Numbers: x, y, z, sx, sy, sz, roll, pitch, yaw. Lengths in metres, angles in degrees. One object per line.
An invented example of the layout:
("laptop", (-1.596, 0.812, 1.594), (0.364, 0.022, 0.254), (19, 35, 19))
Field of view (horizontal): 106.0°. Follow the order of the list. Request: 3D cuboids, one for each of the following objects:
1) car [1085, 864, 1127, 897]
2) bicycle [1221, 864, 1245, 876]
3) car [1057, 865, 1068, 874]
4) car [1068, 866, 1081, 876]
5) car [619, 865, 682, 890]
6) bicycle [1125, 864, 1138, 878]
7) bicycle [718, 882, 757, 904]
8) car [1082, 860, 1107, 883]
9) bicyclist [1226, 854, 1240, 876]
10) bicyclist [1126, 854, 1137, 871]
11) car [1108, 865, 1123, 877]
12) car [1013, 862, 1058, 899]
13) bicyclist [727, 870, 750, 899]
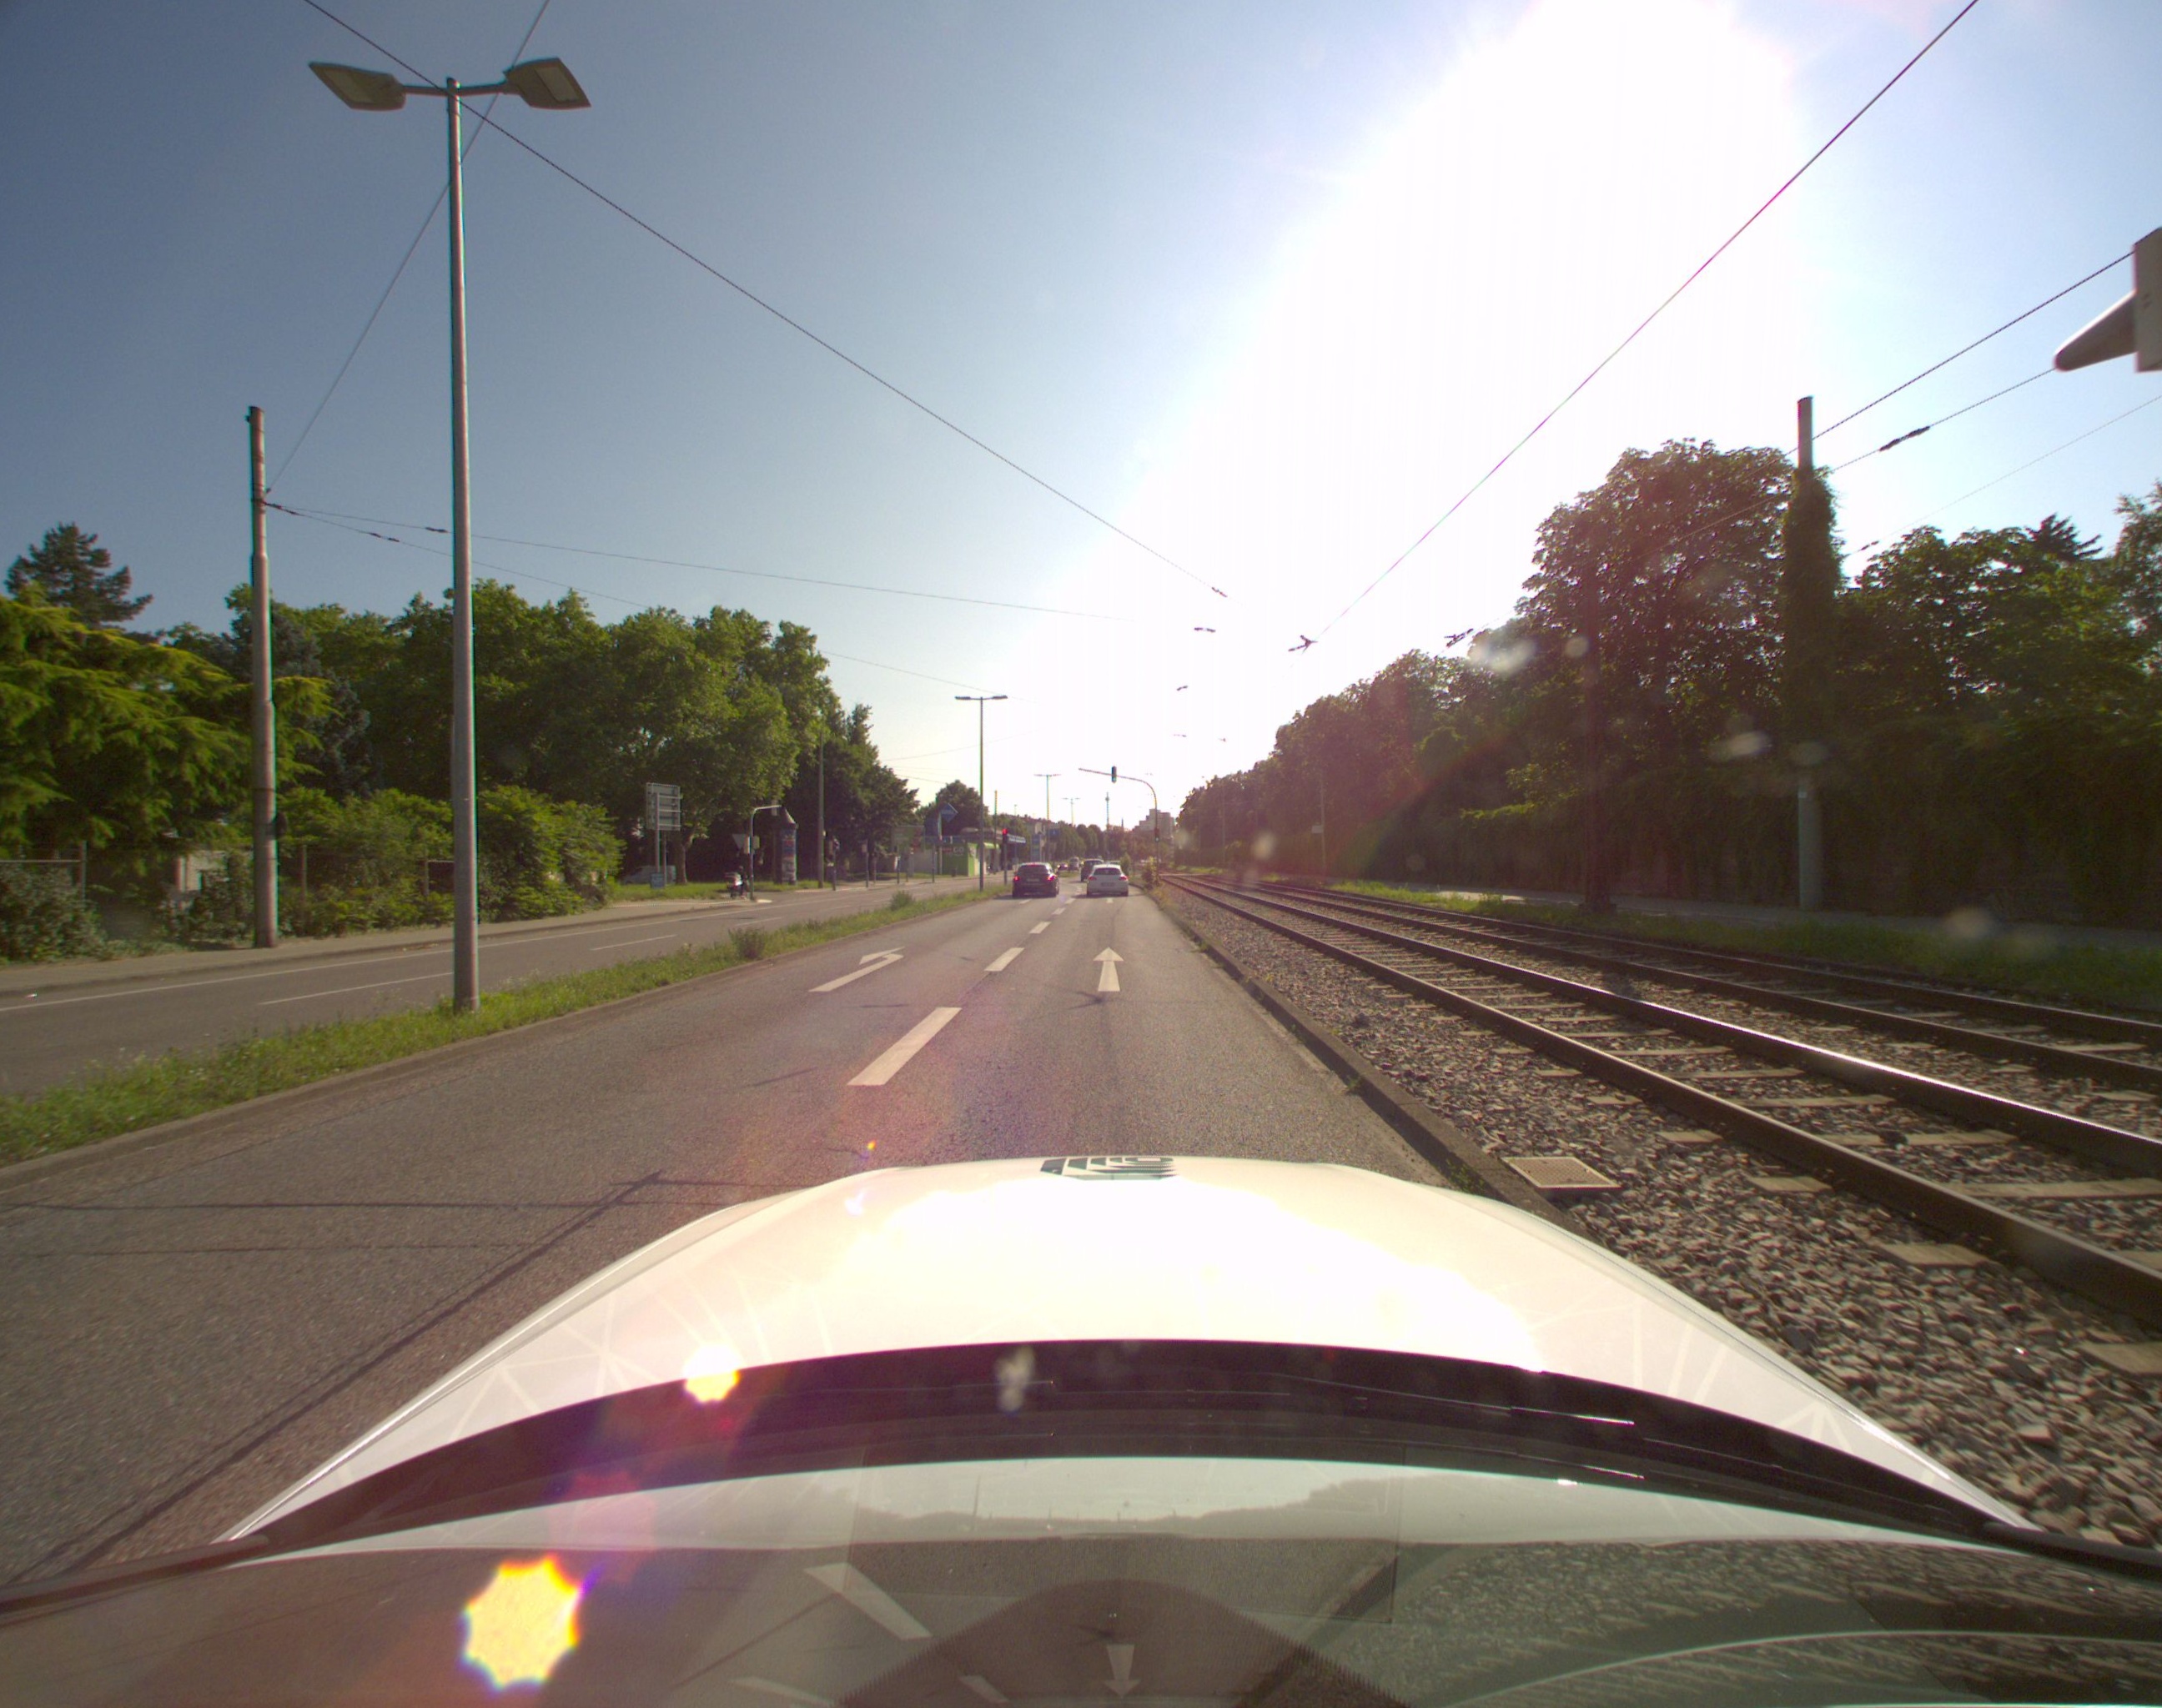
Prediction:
("car", (1.141, 1.143, 36.010), (1.773, 1.356, 3.603), (1, -1, 3))
("bicycle", (13.864, 1.452, 74.235), (1.903, 1.115, 0.953), (-2, -1, 27))
("car", (-3.170, 2.708, 139.864), (1.567, 1.417, 3.336), (-1, -1, 3))
("car", (-0.972, 2.592, 125.018), (1.646, 1.395, 4.136), (-1, -1, 3))
("car", (-35.910, 1.982, 67.920), (4.362, 1.963, 1.828), (-1, -1, 8))
("bicycle", (4.318, 1.466, 69.641), (0.638, 1.154, 1.946), (-2, -1, 18))
("bicycle", (-17.632, 1.984, 41.852), (0.658, 1.049, 2.584), (-1, -1, 6))
("car", (0.972, 1.280, 59.872), (1.719, 1.593, 3.599), (1, -1, -1))
("bicyclist", (13.874, 1.018, 74.230), (1.023, 1.993, 0.953), (-2, -1, 27))
("bicyclist", (4.334, 0.735, 69.749), (0.638, 1.416, 1.017), (-1, 0, 18))
("car", (4.446, 2.164, 105.104), (1.741, 1.486, 3.605), (1, -1, 5))
("car", (-1.937, 1.105, 35.530), (1.755, 1.486, 4.642), (1, -1, -1))
("bicyclist", (-17.644, 1.556, 41.944), (0.658, 1.452, 1.052), (-1, -1, 6))
